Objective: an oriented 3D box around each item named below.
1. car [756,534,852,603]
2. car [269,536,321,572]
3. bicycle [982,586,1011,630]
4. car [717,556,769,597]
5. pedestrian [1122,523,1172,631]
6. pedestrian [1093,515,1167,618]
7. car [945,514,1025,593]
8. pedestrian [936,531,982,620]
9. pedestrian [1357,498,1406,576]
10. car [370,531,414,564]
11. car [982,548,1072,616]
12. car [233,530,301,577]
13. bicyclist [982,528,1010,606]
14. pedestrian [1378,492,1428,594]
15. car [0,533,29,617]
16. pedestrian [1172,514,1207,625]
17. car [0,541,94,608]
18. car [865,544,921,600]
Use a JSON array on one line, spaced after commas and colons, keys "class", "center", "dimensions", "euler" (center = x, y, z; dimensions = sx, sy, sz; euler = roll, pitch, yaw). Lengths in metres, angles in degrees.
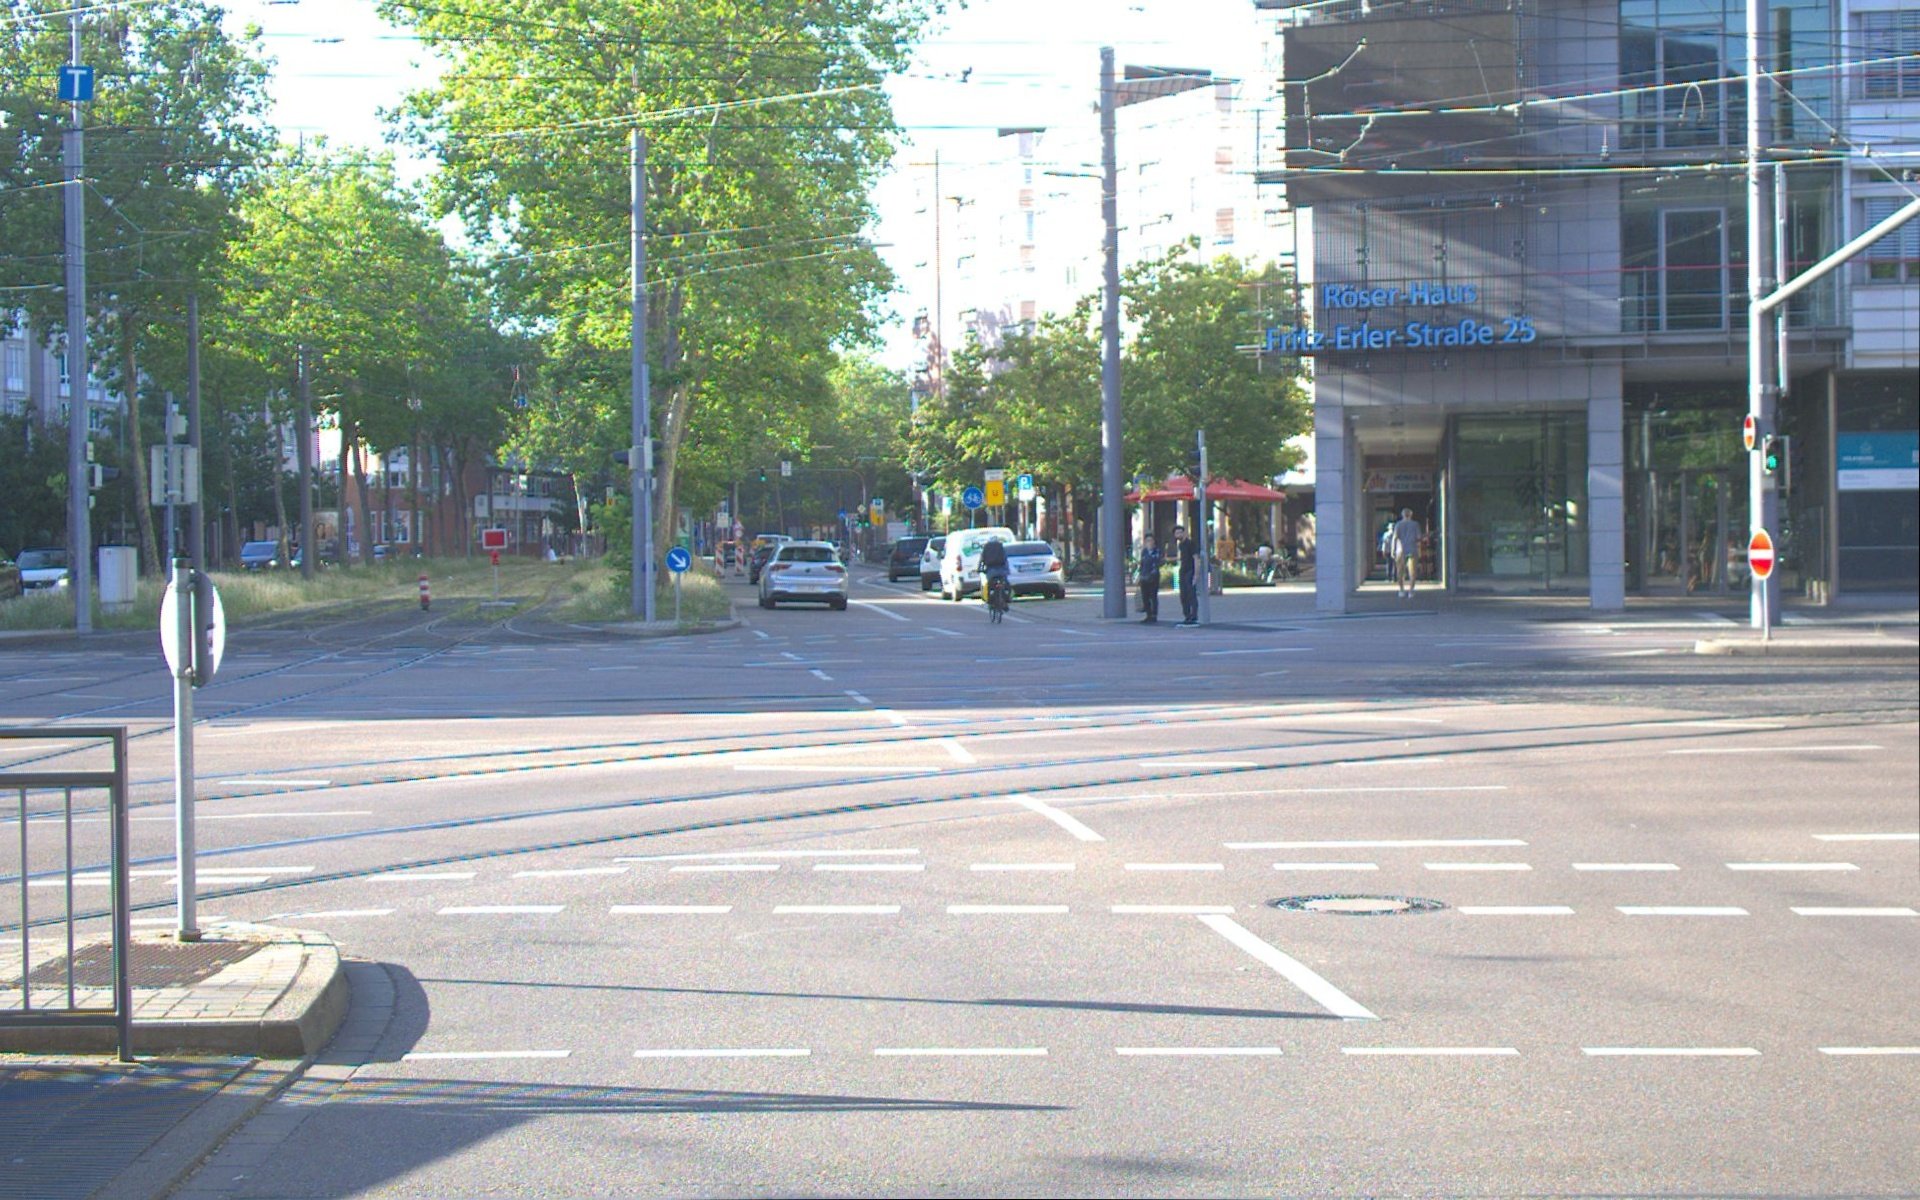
[{"class": "car", "center": [-3.294, -0.688, 73.172], "dimensions": [1.748, 1.413, 4.000], "euler": [0, 1, 1]}, {"class": "car", "center": [-34.052, -2.375, 176.182], "dimensions": [1.910, 1.777, 4.000], "euler": [-1, 1, -1]}, {"class": "bicycle", "center": [0.668, 0.140, 63.791], "dimensions": [0.490, 0.785, 1.862], "euler": [0, 1, -1]}, {"class": "car", "center": [-7.651, -0.827, 121.037], "dimensions": [1.763, 1.399, 4.297], "euler": [0, 1, -4]}, {"class": "pedestrian", "center": [3.497, -0.433, 64.296], "dimensions": [0.849, 2.007, 0.708], "euler": [1, 0, -2]}, {"class": "pedestrian", "center": [3.267, -0.645, 66.019], "dimensions": [1.342, 1.944, 1.011], "euler": [-1, 0, -1]}, {"class": "car", "center": [0.622, -1.206, 89.700], "dimensions": [1.993, 2.007, 4.000], "euler": [1, 1, -1]}, {"class": "pedestrian", "center": [-0.020, -0.478, 67.093], "dimensions": [0.869, 1.702, 0.794], "euler": [1, 0, -1]}, {"class": "pedestrian", "center": [11.818, -1.761, 96.470], "dimensions": [1.313, 2.182, 1.170], "euler": [1, 0, 6]}, {"class": "car", "center": [-32.169, -2.978, 194.636], "dimensions": [1.844, 1.777, 4.000], "euler": [-1, 1, -1]}, {"class": "car", "center": [1.585, -0.444, 82.777], "dimensions": [2.029, 1.590, 4.000], "euler": [1, 1, -1]}, {"class": "car", "center": [-30.017, -2.030, 148.988], "dimensions": [1.876, 2.007, 4.471], "euler": [-1, 1, 2]}, {"class": "bicyclist", "center": [0.666, -0.617, 63.945], "dimensions": [0.486, 1.434, 0.615], "euler": [1, 1, -1]}, {"class": "pedestrian", "center": [8.915, -1.143, 69.169], "dimensions": [0.869, 2.007, 0.794], "euler": [1, -1, -1]}, {"class": "car", "center": [-21.531, -0.546, 74.898], "dimensions": [1.822, 1.784, 4.001], "euler": [-1, 1, -7]}, {"class": "pedestrian", "center": [4.190, -0.564, 62.789], "dimensions": [0.586, 2.007, 0.620], "euler": [1, 0, 0]}, {"class": "car", "center": [-22.445, -0.638, 84.527], "dimensions": [1.676, 1.601, 4.001], "euler": [1, 1, -6]}, {"class": "car", "center": [-2.458, -1.043, 126.662], "dimensions": [1.993, 2.007, 4.000], "euler": [1, 1, -1]}]
